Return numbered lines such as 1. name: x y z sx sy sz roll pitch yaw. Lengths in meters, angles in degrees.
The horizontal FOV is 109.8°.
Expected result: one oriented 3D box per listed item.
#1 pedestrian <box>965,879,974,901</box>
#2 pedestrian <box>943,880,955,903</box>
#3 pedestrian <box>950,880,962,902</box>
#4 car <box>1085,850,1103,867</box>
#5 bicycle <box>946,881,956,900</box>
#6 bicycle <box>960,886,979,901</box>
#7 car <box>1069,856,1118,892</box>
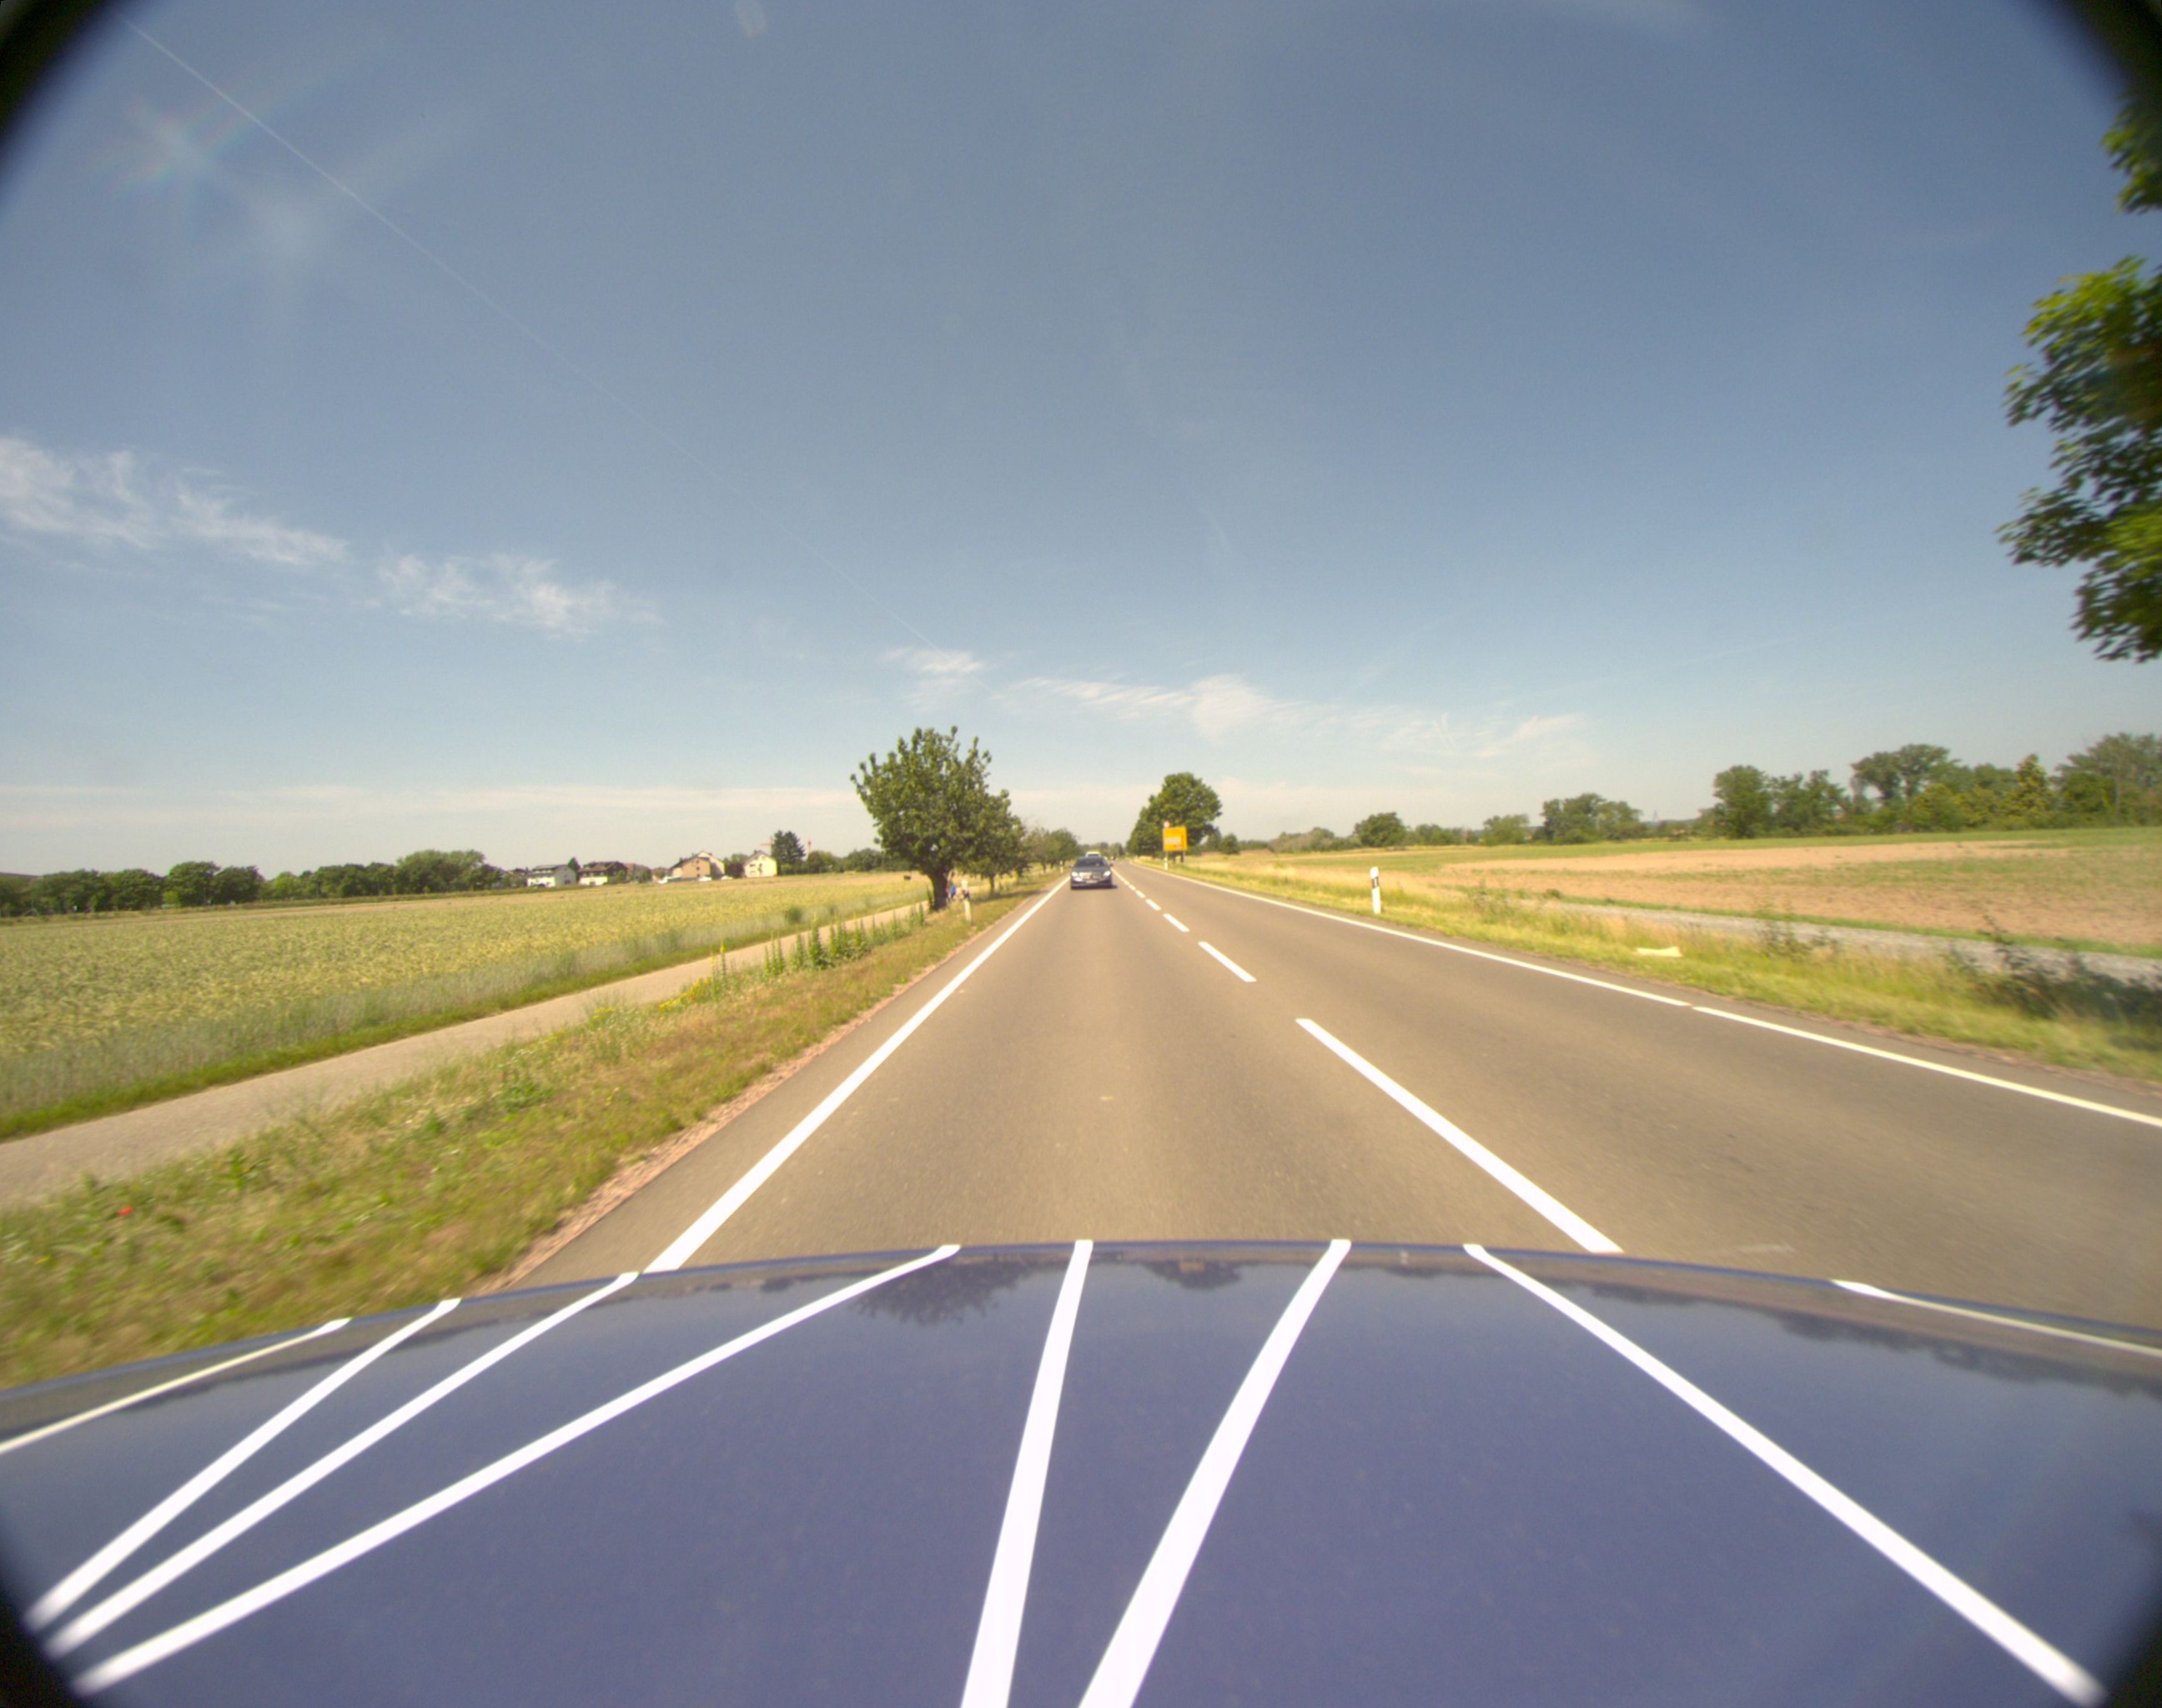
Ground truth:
1. pedestrian: -6.810 2.177 46.338 0.442 1.288 0.487 -2 1 -6
2. pedestrian: -7.892 2.226 45.288 0.486 1.306 0.443 -2 1 44
3. pedestrian: -7.523 2.219 45.705 0.486 1.288 0.443 -2 1 34
4. car: 1.599 0.486 90.861 1.998 1.907 4.206 -3 0 1
5. bicycle: -8.441 2.355 49.161 0.477 1.159 1.680 -3 0 -14
6. bicycle: -6.731 2.367 45.860 1.116 0.855 0.443 -2 1 38
7. car: 0.505 0.826 32.670 1.954 1.391 4.000 -1 0 0
